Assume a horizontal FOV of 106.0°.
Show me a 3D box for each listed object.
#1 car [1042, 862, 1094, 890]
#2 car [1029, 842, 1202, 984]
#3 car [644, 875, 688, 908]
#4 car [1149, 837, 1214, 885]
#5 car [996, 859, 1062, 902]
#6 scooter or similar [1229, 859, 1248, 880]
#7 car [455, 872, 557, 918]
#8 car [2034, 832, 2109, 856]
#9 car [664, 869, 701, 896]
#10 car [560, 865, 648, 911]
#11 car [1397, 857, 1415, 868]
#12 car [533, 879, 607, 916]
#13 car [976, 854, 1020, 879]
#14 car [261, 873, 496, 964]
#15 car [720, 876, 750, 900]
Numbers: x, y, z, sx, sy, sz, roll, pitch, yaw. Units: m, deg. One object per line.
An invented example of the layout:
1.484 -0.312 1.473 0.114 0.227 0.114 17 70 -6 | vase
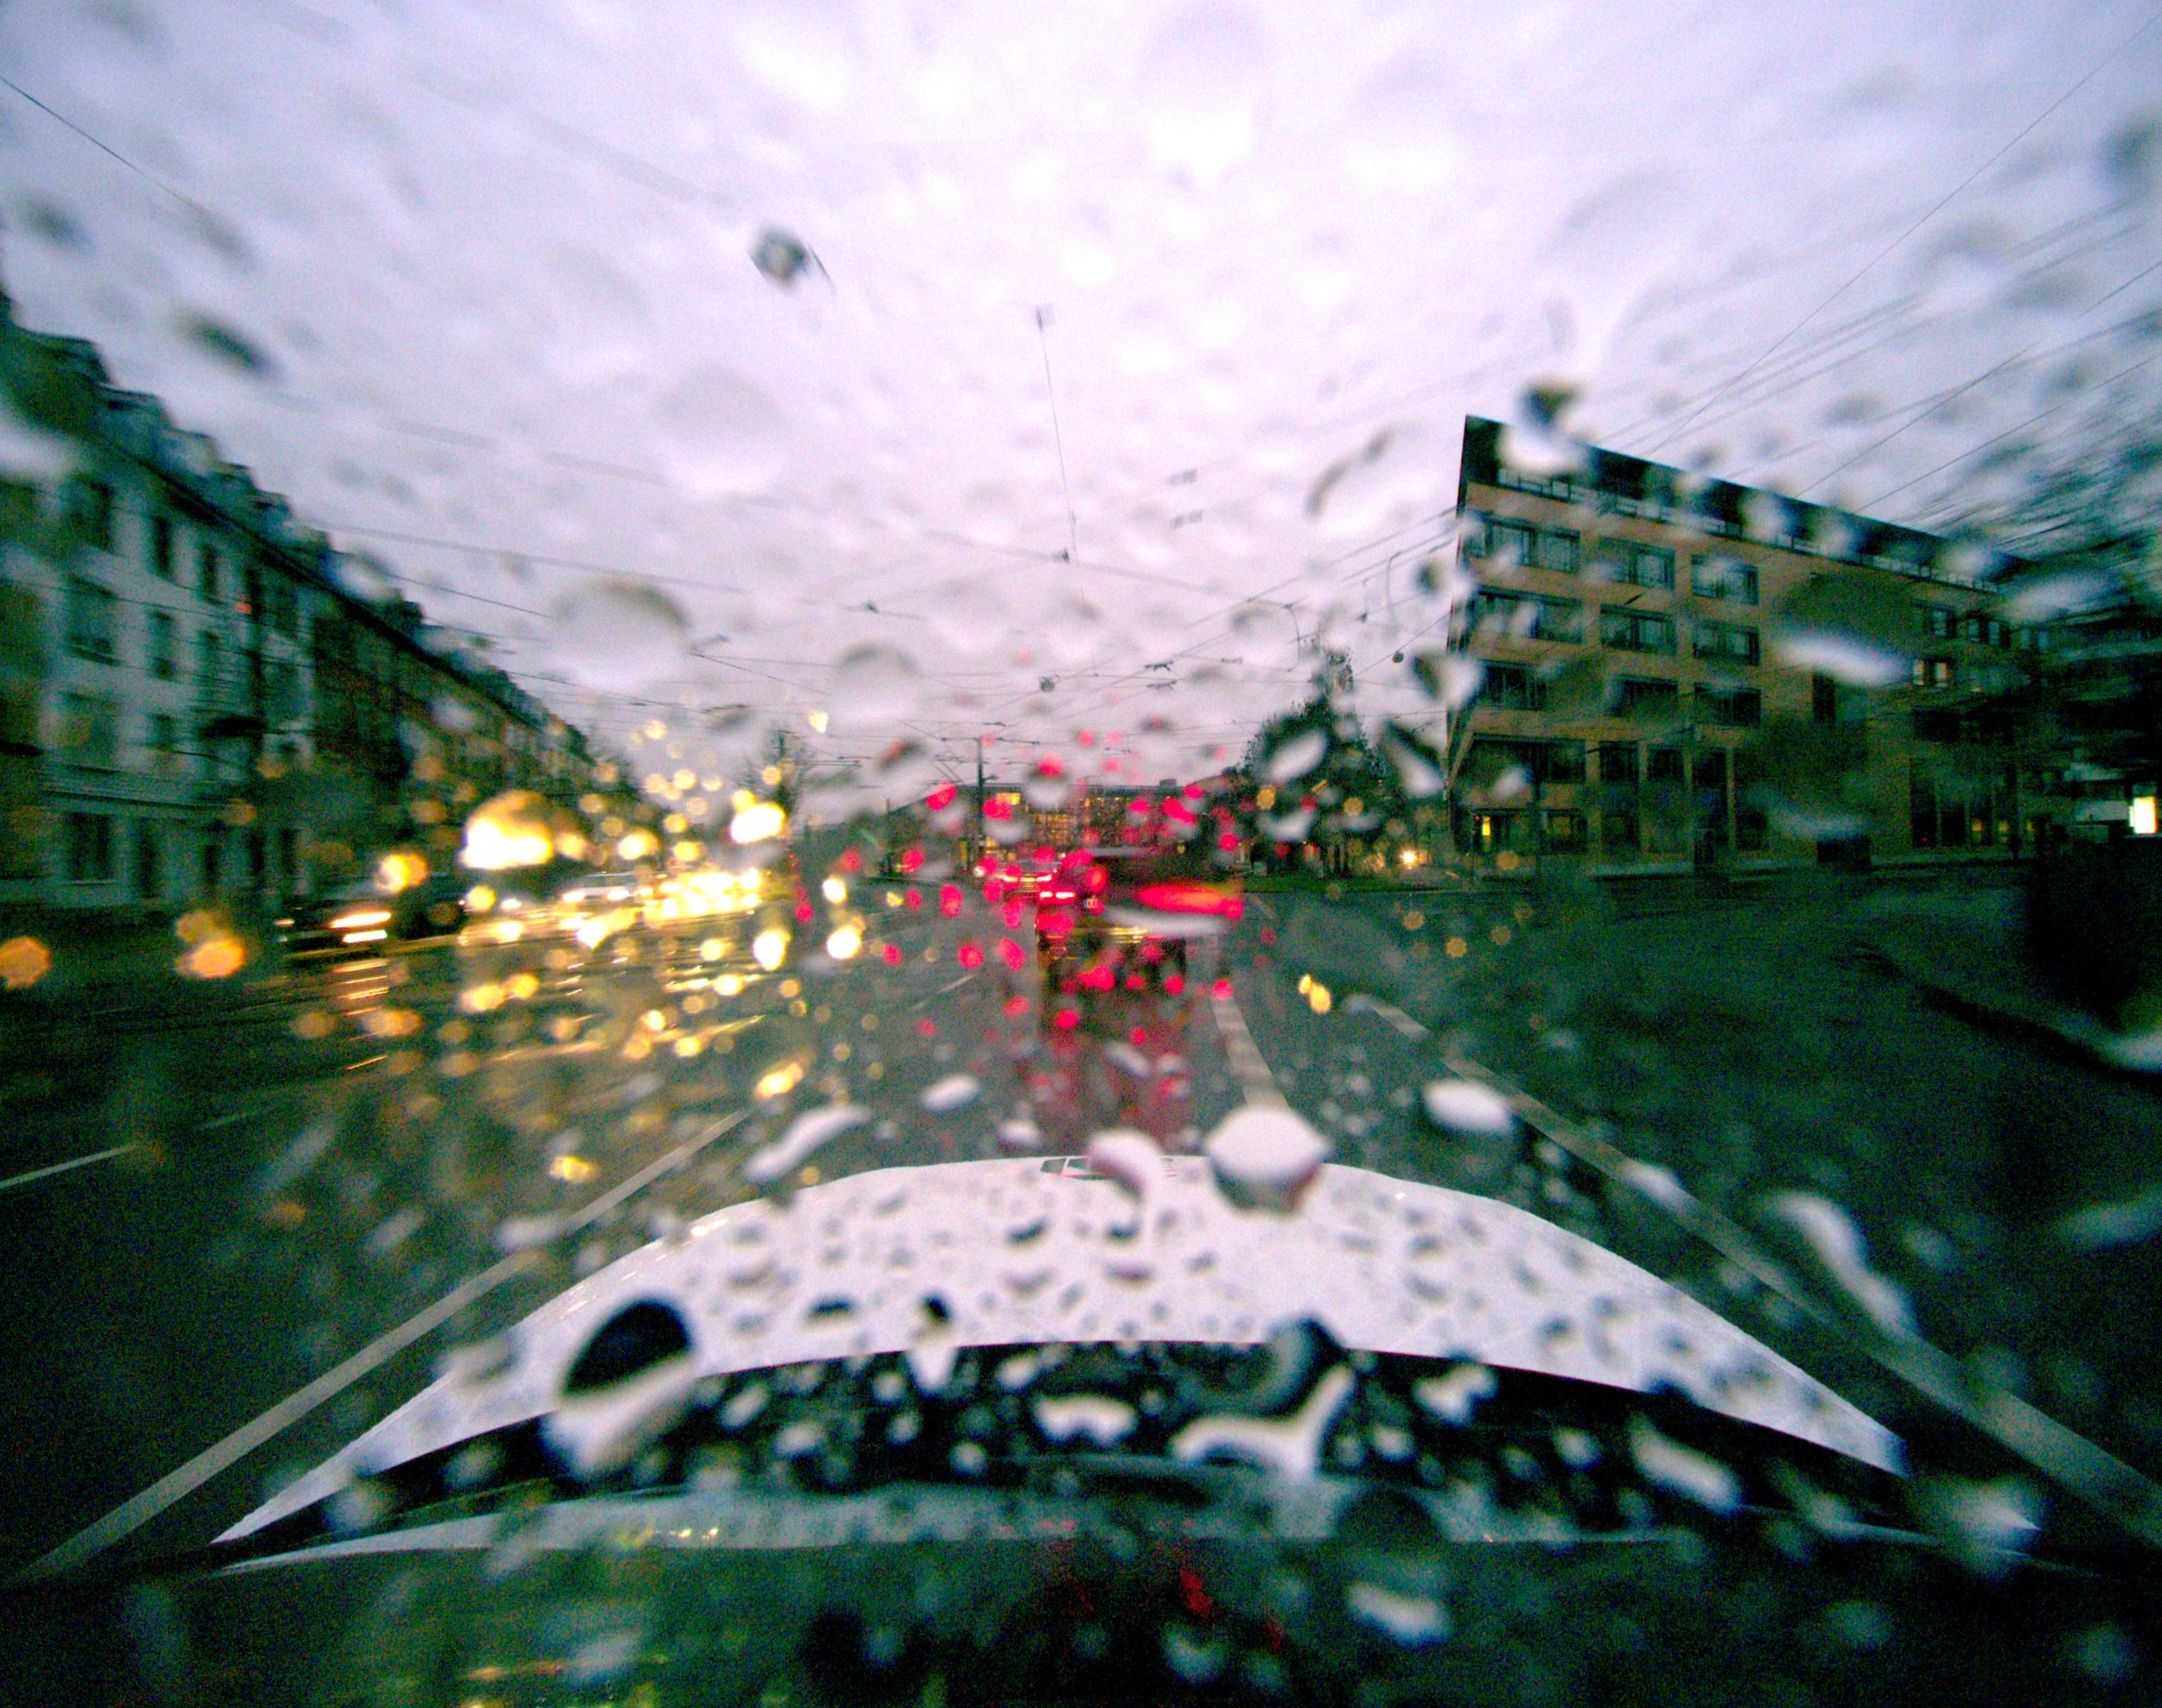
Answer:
-0.875 1.369 51.487 2.002 1.618 3.970 -1 0 -23 | car
0.505 0.691 11.488 1.982 1.616 4.003 -1 0 3 | car
-20.140 1.794 39.608 1.492 1.487 3.132 -1 -1 -20 | car
4.088 0.271 32.537 1.979 1.765 4.016 -2 0 15 | car
-1.792 0.901 29.486 1.986 1.398 4.001 -1 0 1 | car
9.685 0.947 50.019 1.151 1.232 0.482 -1 0 -39 | scooter or similar
-19.293 1.329 27.506 1.683 1.392 3.594 -1 -1 -16 | car
63.957 -0.647 52.576 3.929 1.440 1.985 -1 0 -22 | car
-24.666 1.720 50.486 1.686 1.553 4.092 -1 -1 -21 | car
-16.621 1.140 28.601 1.684 1.457 4.309 -1 -1 -17 | car
35.091 0.898 87.798 1.652 1.181 3.728 -1 0 23 | car
-21.943 1.831 35.124 1.685 1.354 4.360 -1 -1 -18 | car
-5.923 0.866 57.697 2.002 1.618 3.970 -1 0 -23 | car
-13.422 1.143 15.921 1.681 1.457 4.046 -1 -1 -11 | car
-20.618 1.985 48.532 1.543 1.245 4.056 -1 0 -23 | car
